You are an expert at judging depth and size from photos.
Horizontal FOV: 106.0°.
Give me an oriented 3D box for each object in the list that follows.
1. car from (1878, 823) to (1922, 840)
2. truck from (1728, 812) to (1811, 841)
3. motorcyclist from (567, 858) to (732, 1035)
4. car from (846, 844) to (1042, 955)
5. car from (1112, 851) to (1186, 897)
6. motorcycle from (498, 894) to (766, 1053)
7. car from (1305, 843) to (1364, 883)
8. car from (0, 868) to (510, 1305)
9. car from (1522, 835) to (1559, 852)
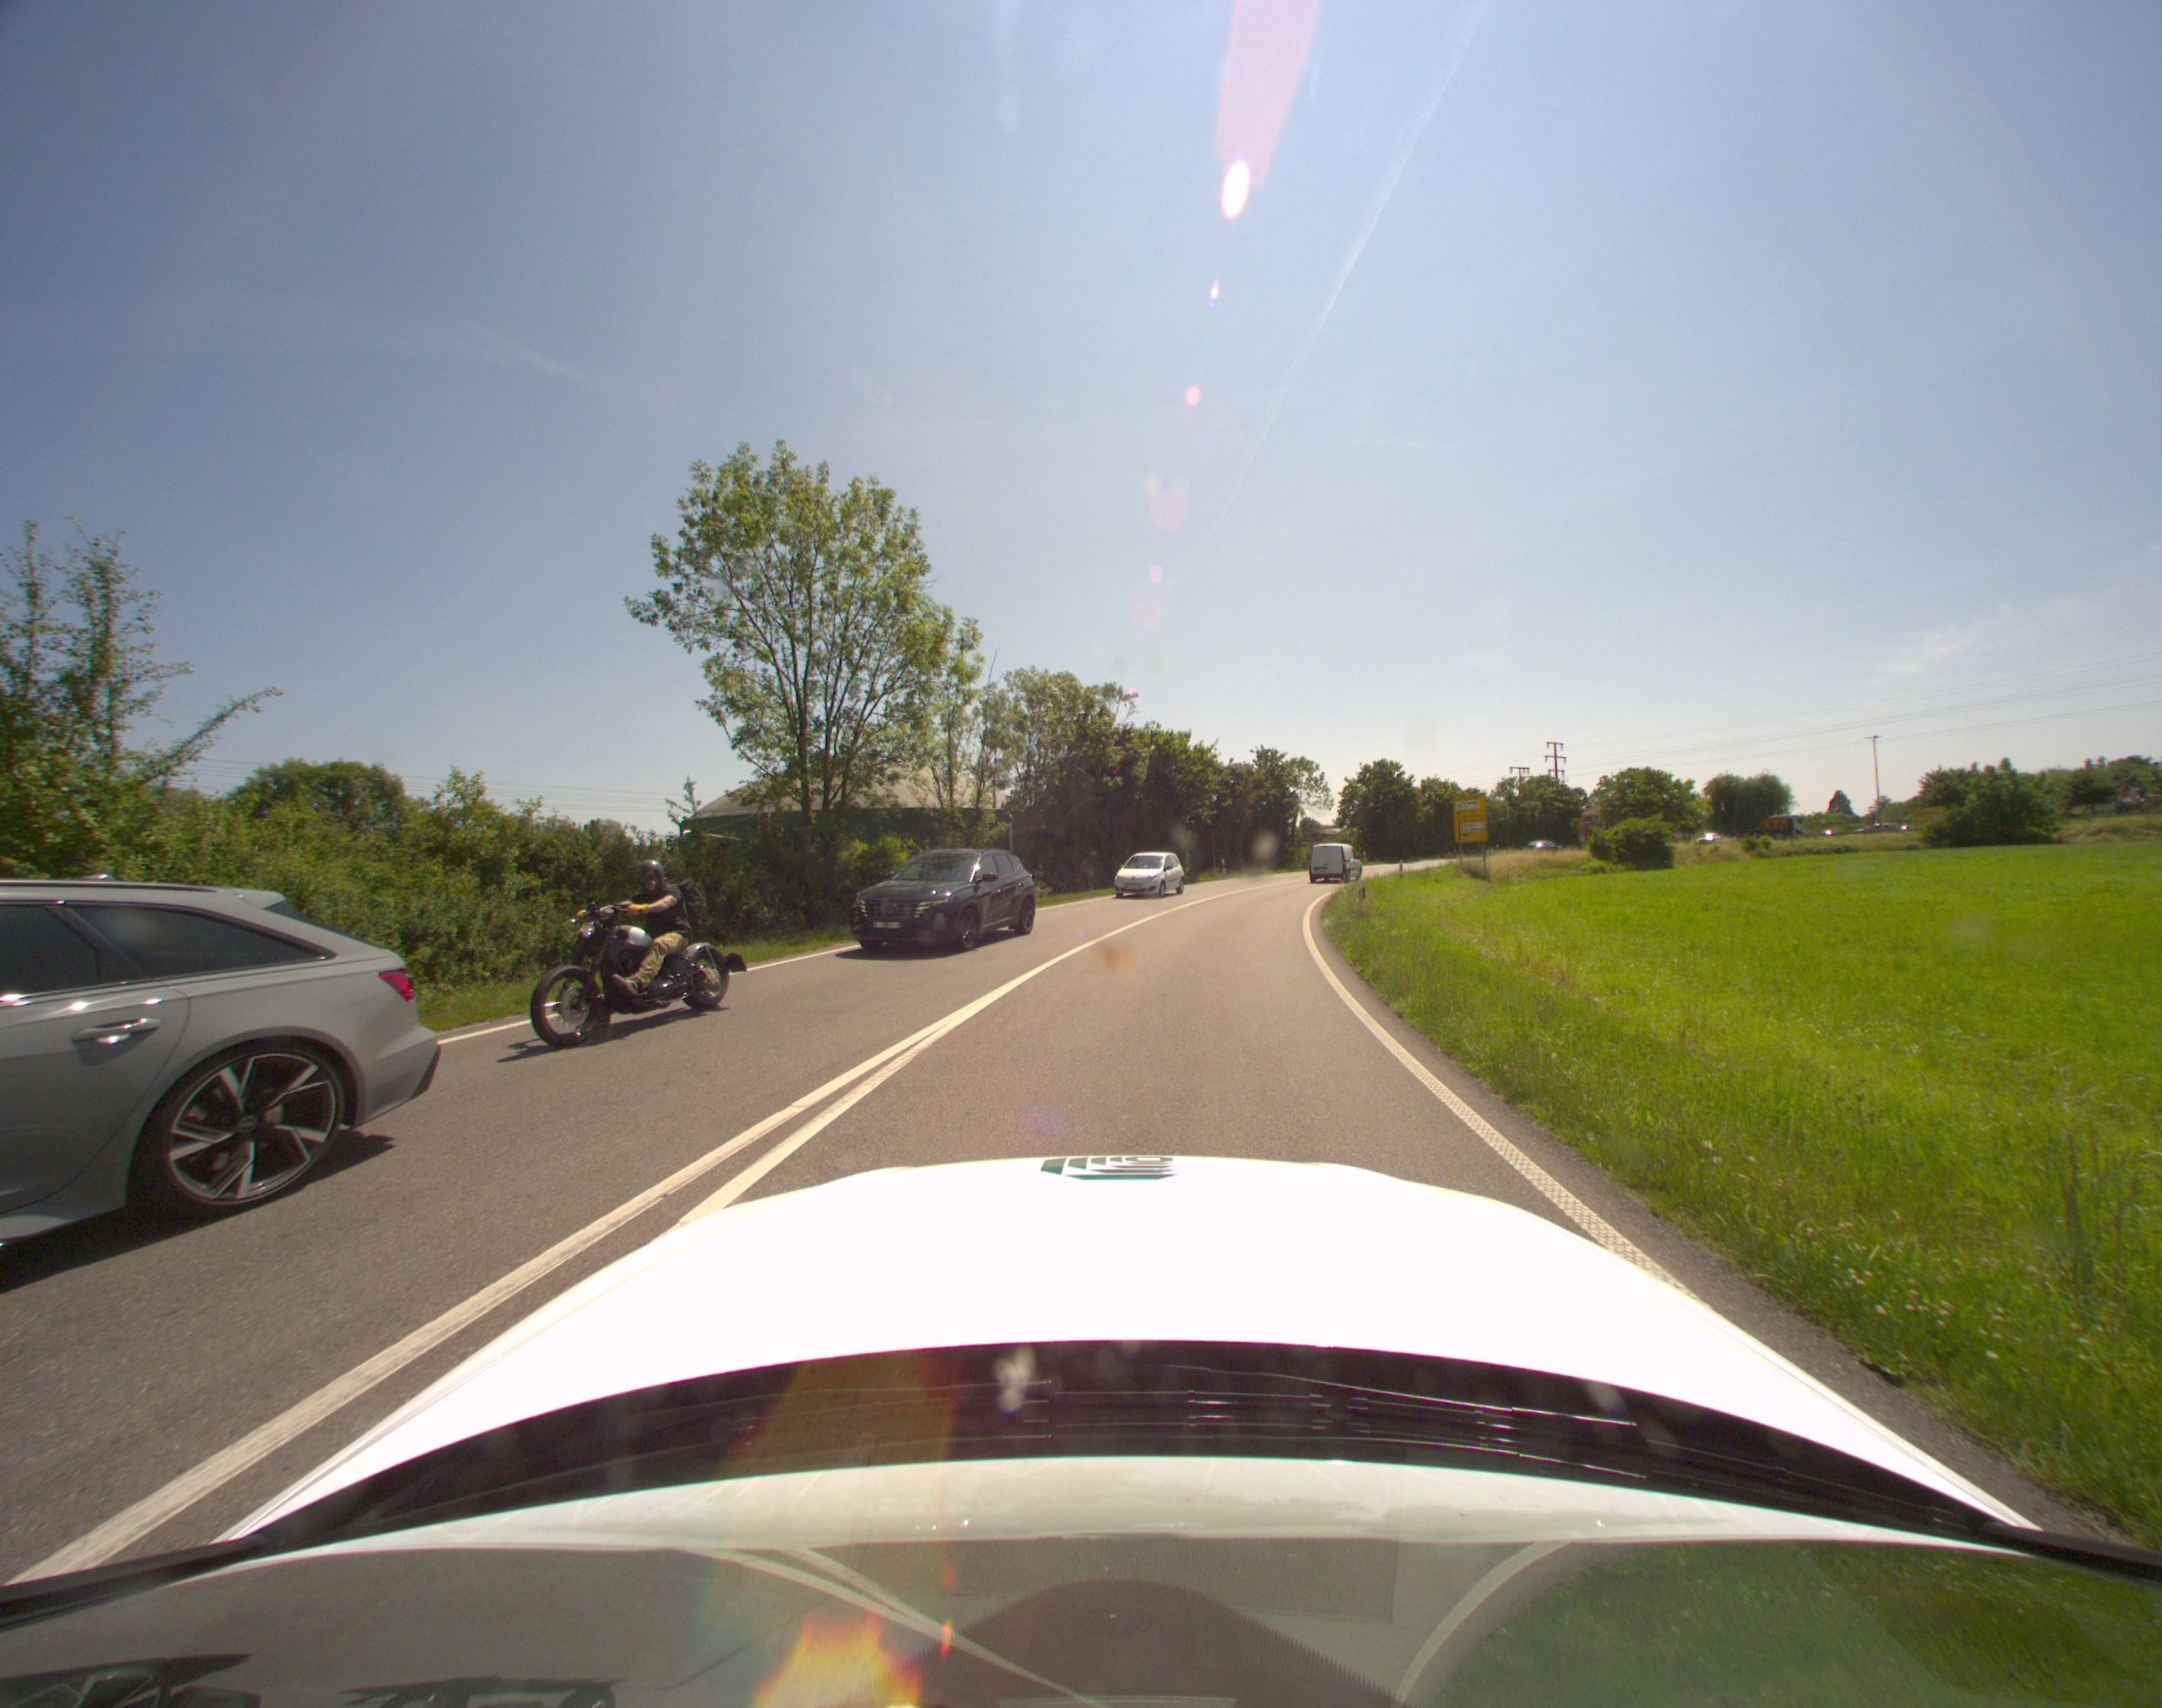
[{"bbox_3d":[110.471,-2.999,109.876,2.008,2.014,3.956,0,-1,-35],"label":"car"},{"bbox_3d":[79.891,-3.171,94.529,8.794,3.137,3.091,0,-1,-17],"label":"truck"},{"bbox_3d":[-3.927,0.792,7.500,0.776,1.495,1.134,-2,-1,10],"label":"motorcyclist"},{"bbox_3d":[-2.168,0.663,14.220,1.689,1.638,4.267,0,0,16],"label":"car"},{"bbox_3d":[2.387,0.640,27.893,1.523,1.443,3.626,1,0,21],"label":"car"},{"bbox_3d":[-3.935,0.973,7.483,0.777,1.123,2.437,0,-1,10],"label":"motorcycle"},{"bbox_3d":[11.930,0.416,38.169,1.886,1.732,3.845,-3,-1,28],"label":"car"},{"bbox_3d":[-4.627,0.798,2.453,1.829,1.460,4.823,-1,-1,11],"label":"car"},{"bbox_3d":[40.950,-0.908,72.509,3.765,1.420,1.704,-1,-2,-41],"label":"car"}]
